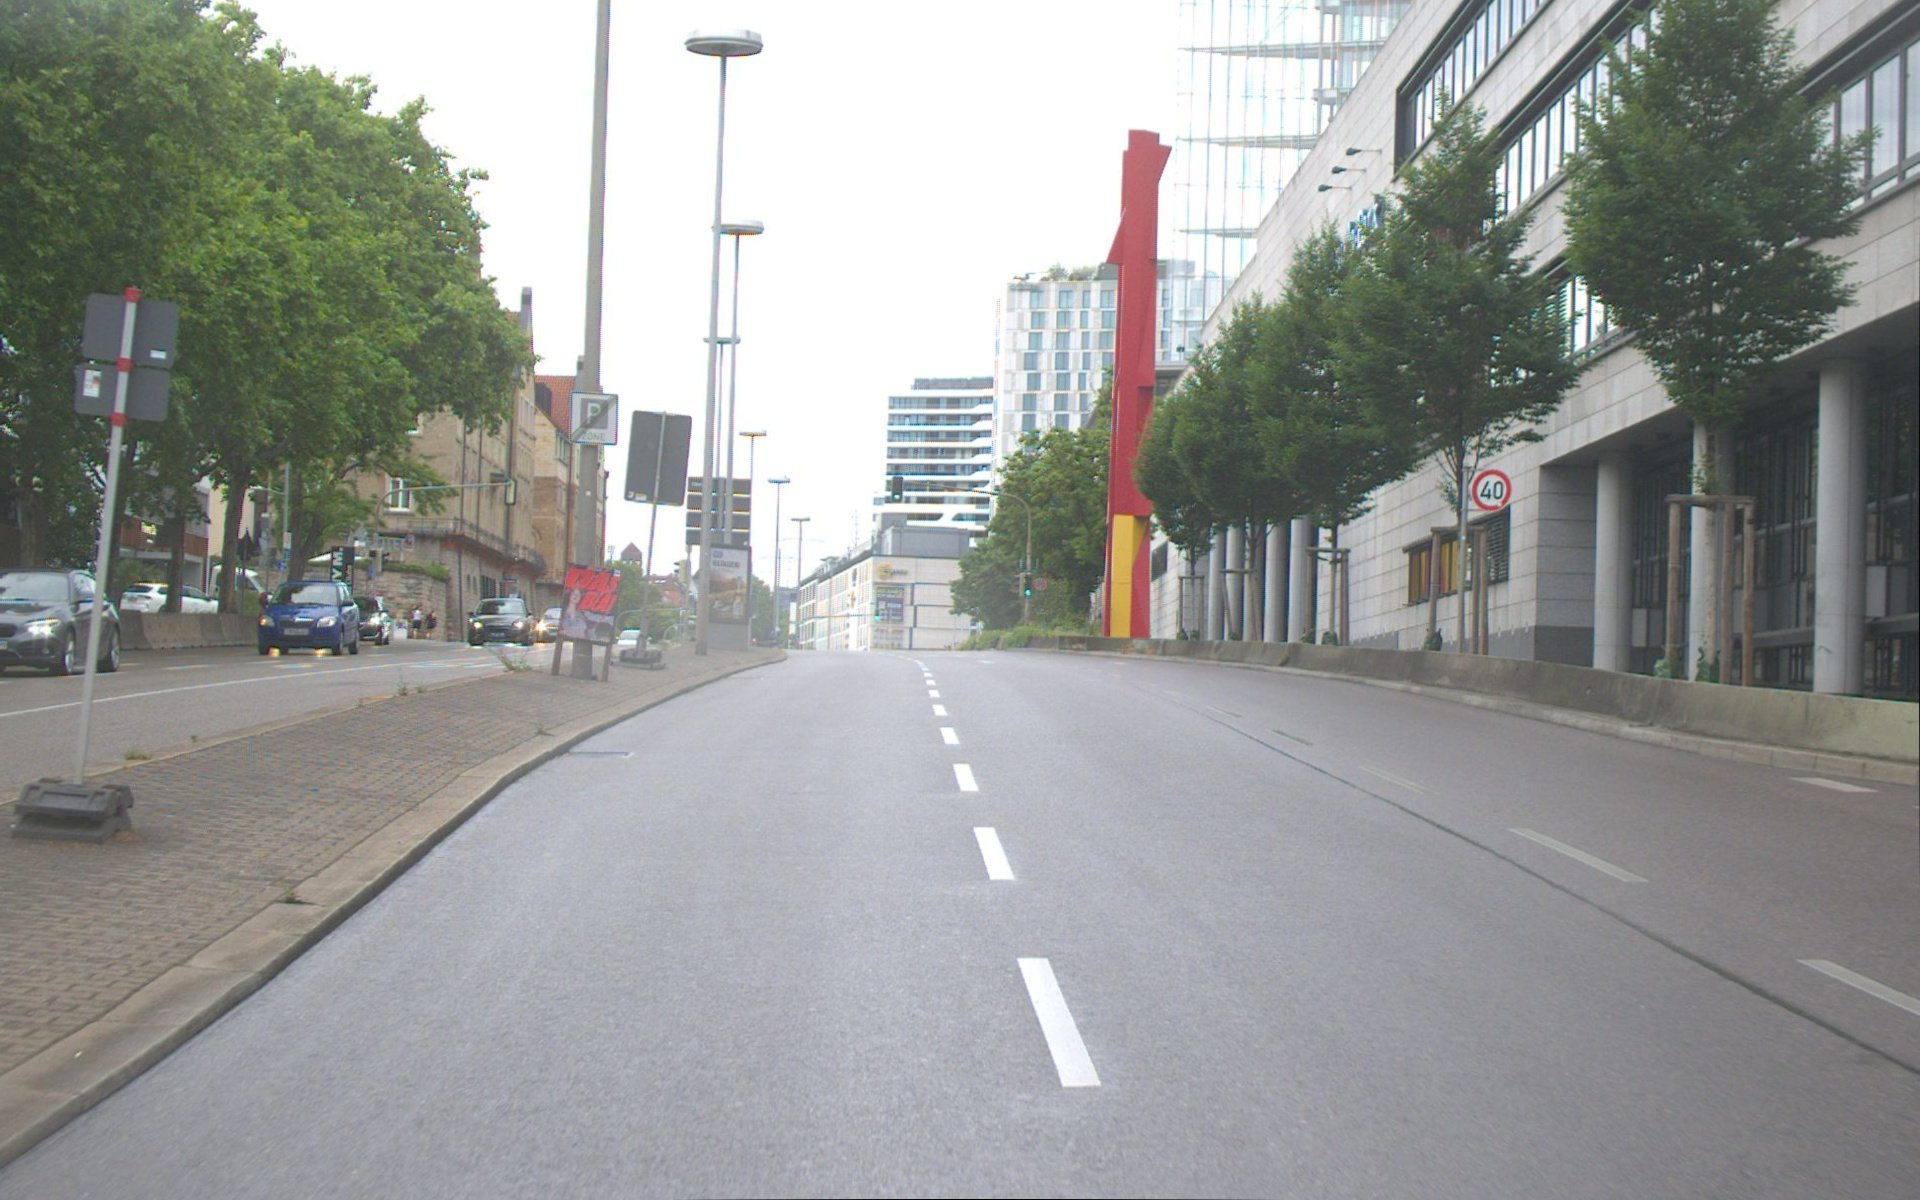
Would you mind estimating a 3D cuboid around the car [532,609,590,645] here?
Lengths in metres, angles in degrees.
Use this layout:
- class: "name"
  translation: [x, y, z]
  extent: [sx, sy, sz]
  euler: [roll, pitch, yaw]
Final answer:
- class: "car"
  translation: [-16.116, 1.103, 138.999]
  extent: [1.819, 1.398, 3.999]
  euler: [0, -2, 1]

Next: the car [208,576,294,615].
- class: "car"
  translation: [-32.209, -0.209, 156.280]
  extent: [3.628, 1.695, 1.825]
  euler: [0, -2, -4]

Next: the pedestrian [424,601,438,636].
- class: "pedestrian"
  translation: [-24.628, 0.844, 160.124]
  extent: [0.498, 1.606, 0.500]
  euler: [2, -2, 2]

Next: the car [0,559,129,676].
- class: "car"
  translation: [-12.260, 0.191, 44.988]
  extent: [1.807, 1.444, 4.340]
  euler: [0, 1, -1]

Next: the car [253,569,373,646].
- class: "car"
  translation: [-12.953, 0.142, 68.997]
  extent: [1.608, 1.468, 4.067]
  euler: [1, 0, 0]

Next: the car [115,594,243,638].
- class: "car"
  translation: [-29.325, 0.614, 129.221]
  extent: [1.823, 1.506, 4.567]
  euler: [-2, -2, 37]

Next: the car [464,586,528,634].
- class: "car"
  translation: [-13.860, 0.302, 102.852]
  extent: [1.686, 1.405, 4.000]
  euler: [0, -1, -5]
